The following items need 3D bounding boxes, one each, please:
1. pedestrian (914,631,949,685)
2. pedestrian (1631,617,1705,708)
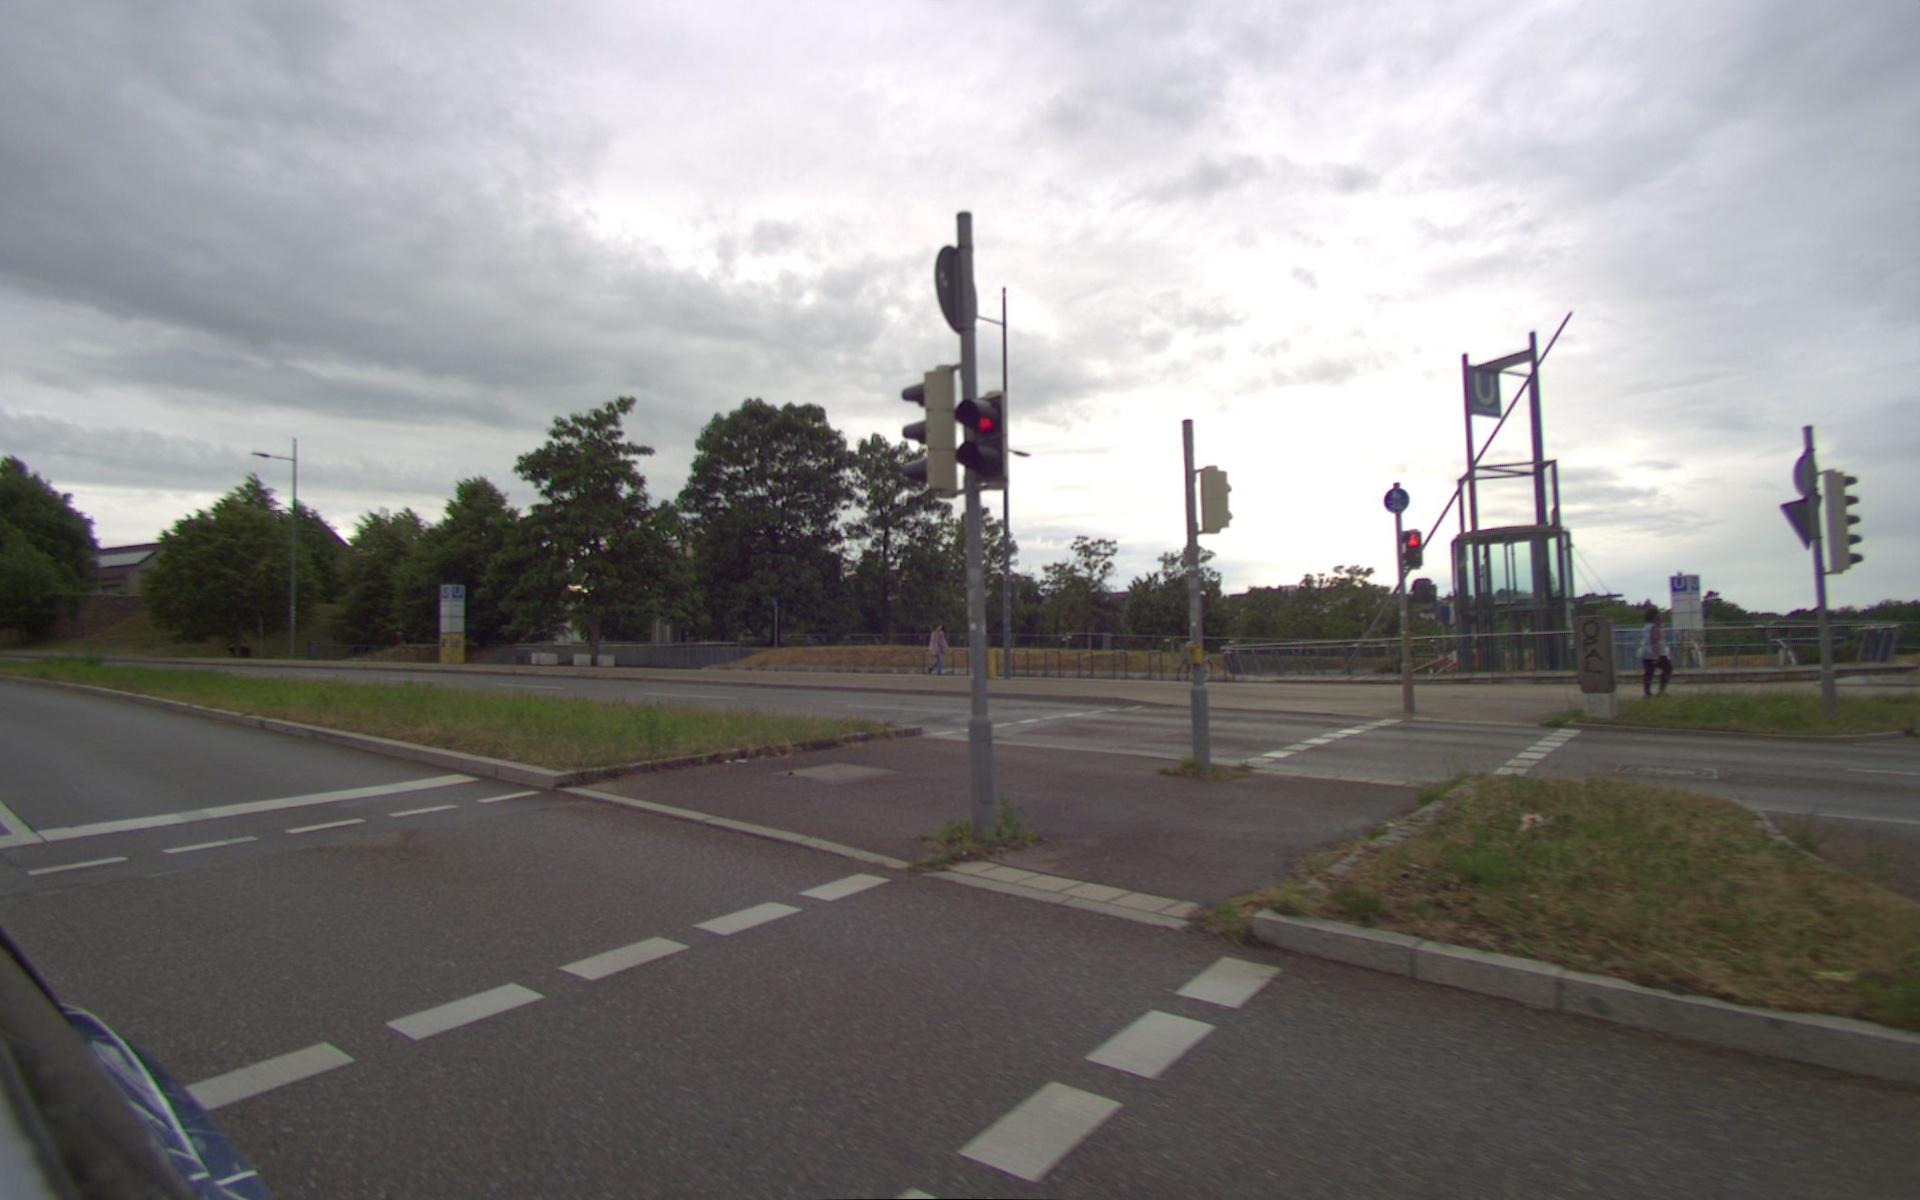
[{"bbox_3d":[-0.861,1.779,30.938,0.811,1.606,0.608,-5,-5,36],"label":"pedestrian"},{"bbox_3d":[13.125,1.159,18.777,0.664,1.606,0.821,-3,-4,2],"label":"pedestrian"}]
